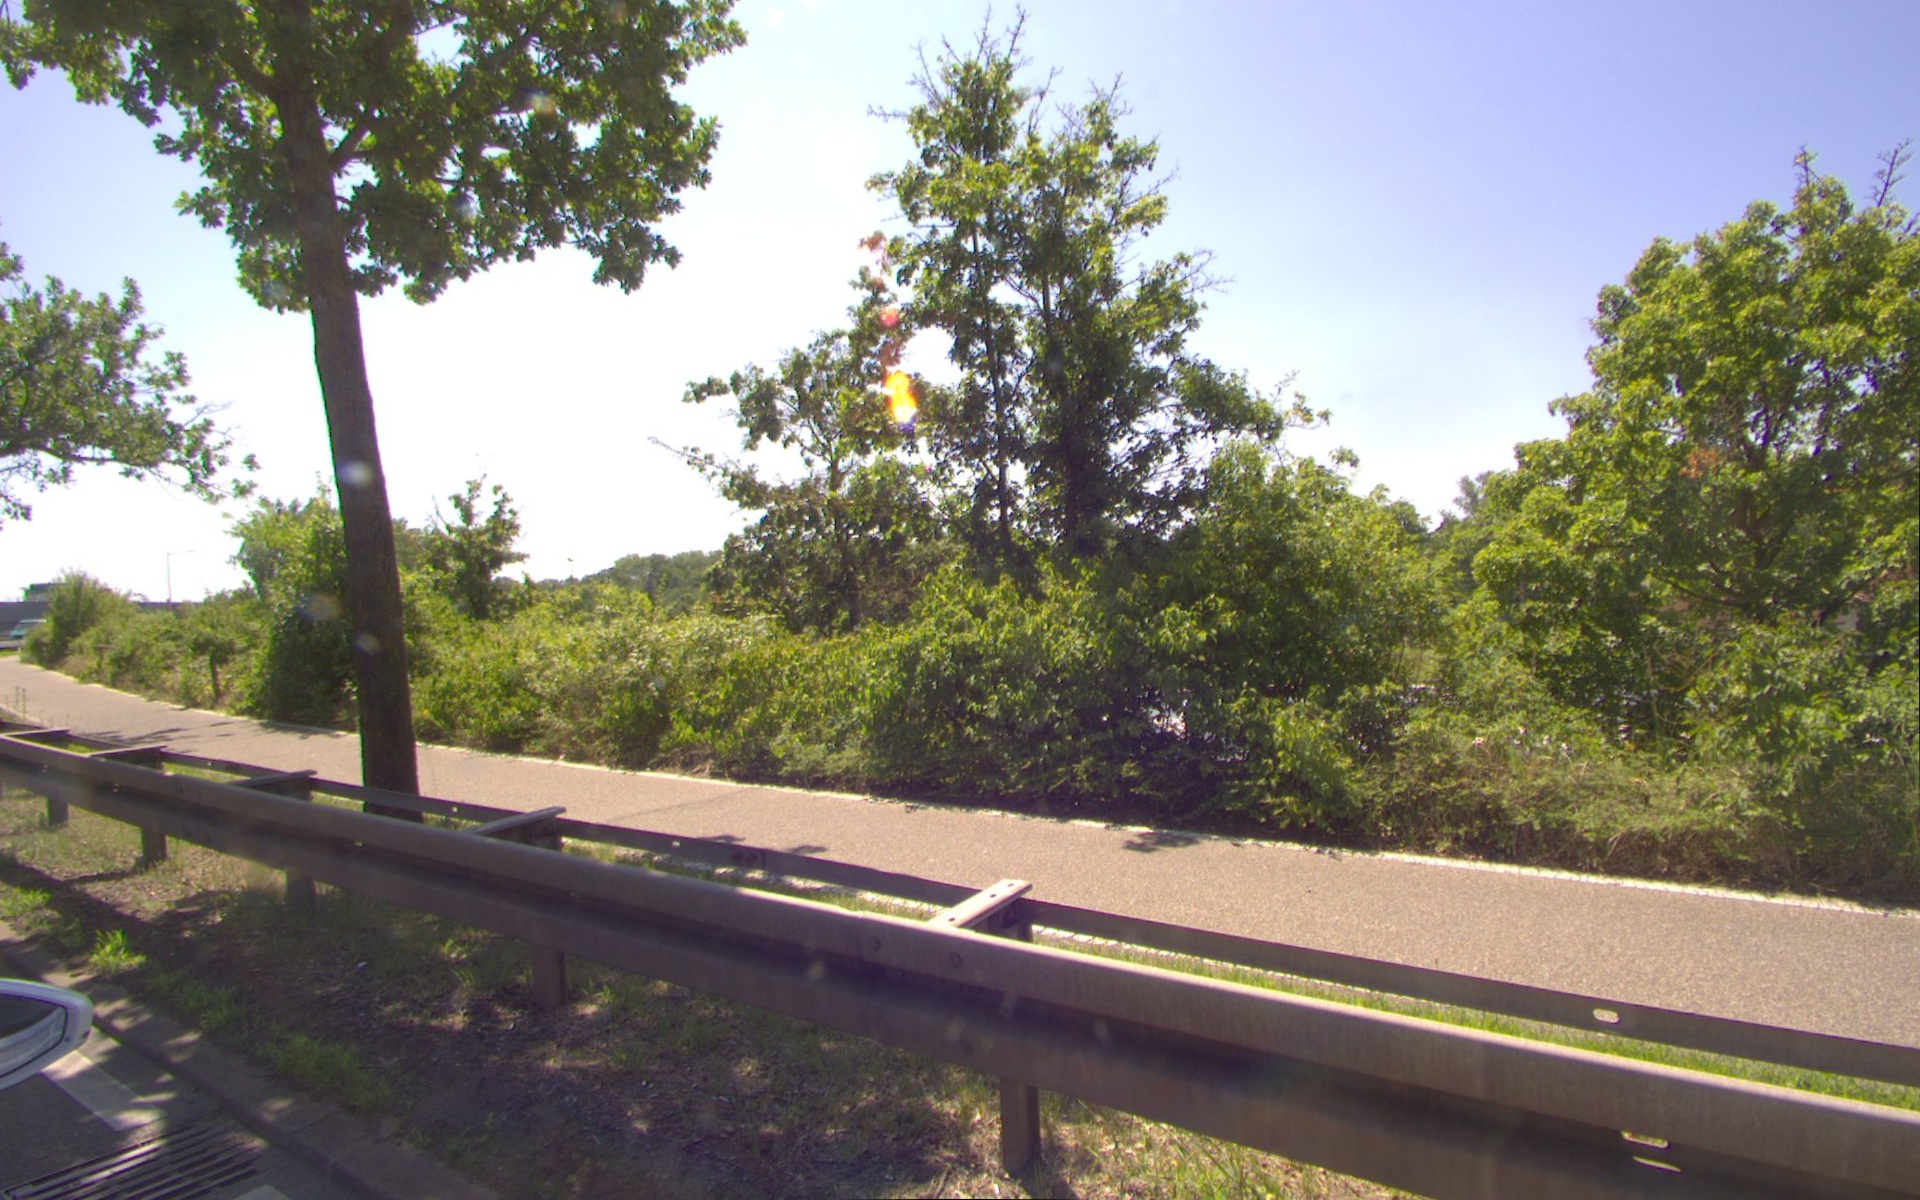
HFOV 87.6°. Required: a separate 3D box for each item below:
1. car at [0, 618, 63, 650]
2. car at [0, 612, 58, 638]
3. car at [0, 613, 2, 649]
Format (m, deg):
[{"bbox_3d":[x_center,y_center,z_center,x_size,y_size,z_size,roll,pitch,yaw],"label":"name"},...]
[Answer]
[{"bbox_3d":[-54.436,1.993,58.621,1.973,1.831,4.819,1,-2,-32],"label":"car"},{"bbox_3d":[-63.244,1.692,67.524,2.102,1.702,4.865,1,-2,-23],"label":"car"},{"bbox_3d":[-46.659,1.454,46.990,1.977,1.734,4.585,1,-2,-38],"label":"car"}]
